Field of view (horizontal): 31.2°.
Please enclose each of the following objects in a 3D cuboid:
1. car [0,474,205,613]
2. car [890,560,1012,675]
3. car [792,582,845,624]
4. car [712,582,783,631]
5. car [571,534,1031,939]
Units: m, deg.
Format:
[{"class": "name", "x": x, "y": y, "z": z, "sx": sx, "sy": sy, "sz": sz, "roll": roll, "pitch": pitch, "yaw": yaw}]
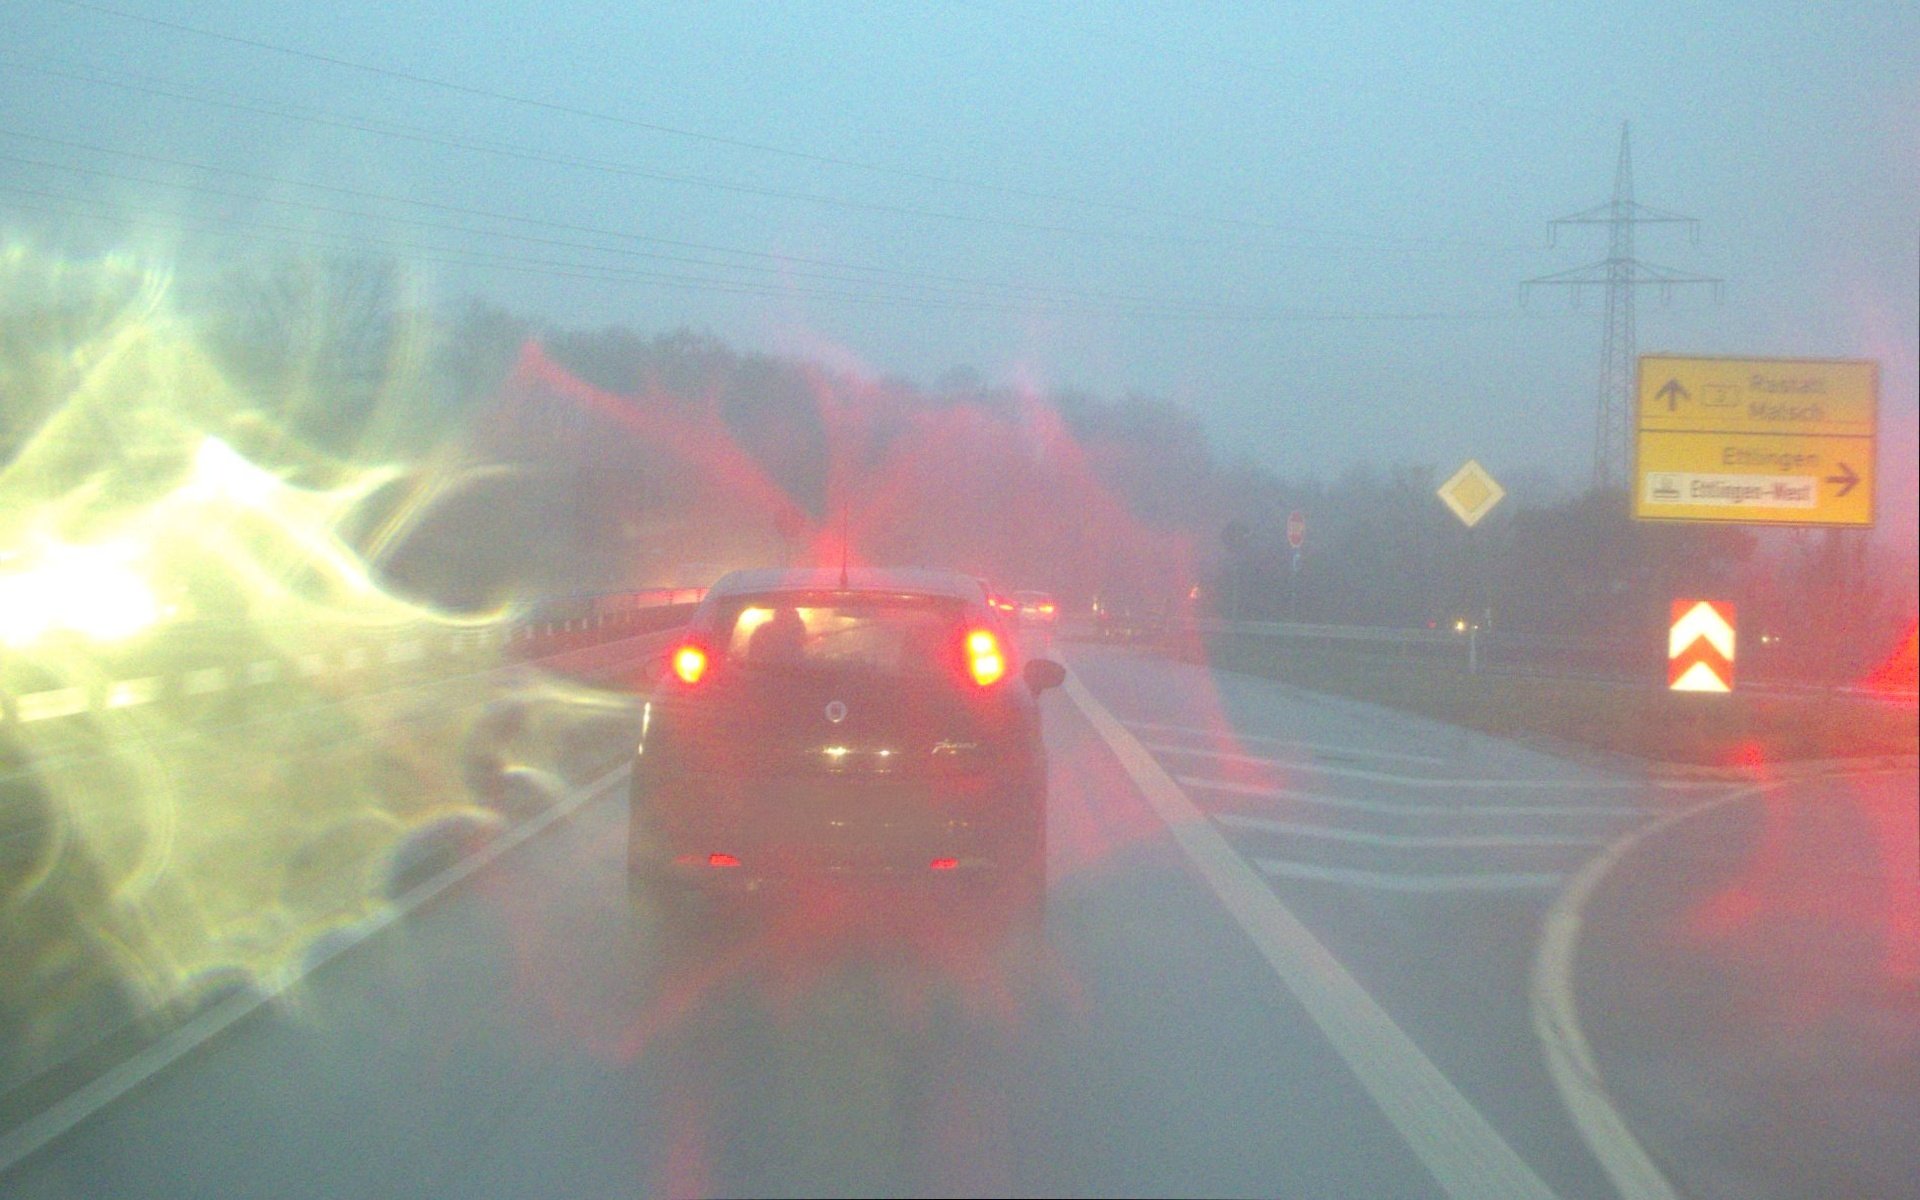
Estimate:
[{"class": "car", "x": -10.813, "y": -0.740, "z": 42.397, "sx": 2.093, "sy": 1.588, "sz": 4.479, "roll": 1, "pitch": 2, "yaw": -1}, {"class": "car", "x": -0.198, "y": 0.272, "z": 60.791, "sx": 1.993, "sy": 1.808, "sz": 4.001, "roll": 3, "pitch": 2, "yaw": -1}, {"class": "car", "x": -5.097, "y": 0.095, "z": 124.370, "sx": 1.647, "sy": 1.496, "sz": 4.000, "roll": 0, "pitch": 0, "yaw": 1}, {"class": "car", "x": -6.658, "y": 0.197, "z": 108.070, "sx": 1.993, "sy": 1.467, "sz": 4.473, "roll": 1, "pitch": 0, "yaw": -1}, {"class": "car", "x": -0.562, "y": 0.515, "z": 15.013, "sx": 1.730, "sy": 1.527, "sz": 4.042, "roll": 0, "pitch": 0, "yaw": 1}]
